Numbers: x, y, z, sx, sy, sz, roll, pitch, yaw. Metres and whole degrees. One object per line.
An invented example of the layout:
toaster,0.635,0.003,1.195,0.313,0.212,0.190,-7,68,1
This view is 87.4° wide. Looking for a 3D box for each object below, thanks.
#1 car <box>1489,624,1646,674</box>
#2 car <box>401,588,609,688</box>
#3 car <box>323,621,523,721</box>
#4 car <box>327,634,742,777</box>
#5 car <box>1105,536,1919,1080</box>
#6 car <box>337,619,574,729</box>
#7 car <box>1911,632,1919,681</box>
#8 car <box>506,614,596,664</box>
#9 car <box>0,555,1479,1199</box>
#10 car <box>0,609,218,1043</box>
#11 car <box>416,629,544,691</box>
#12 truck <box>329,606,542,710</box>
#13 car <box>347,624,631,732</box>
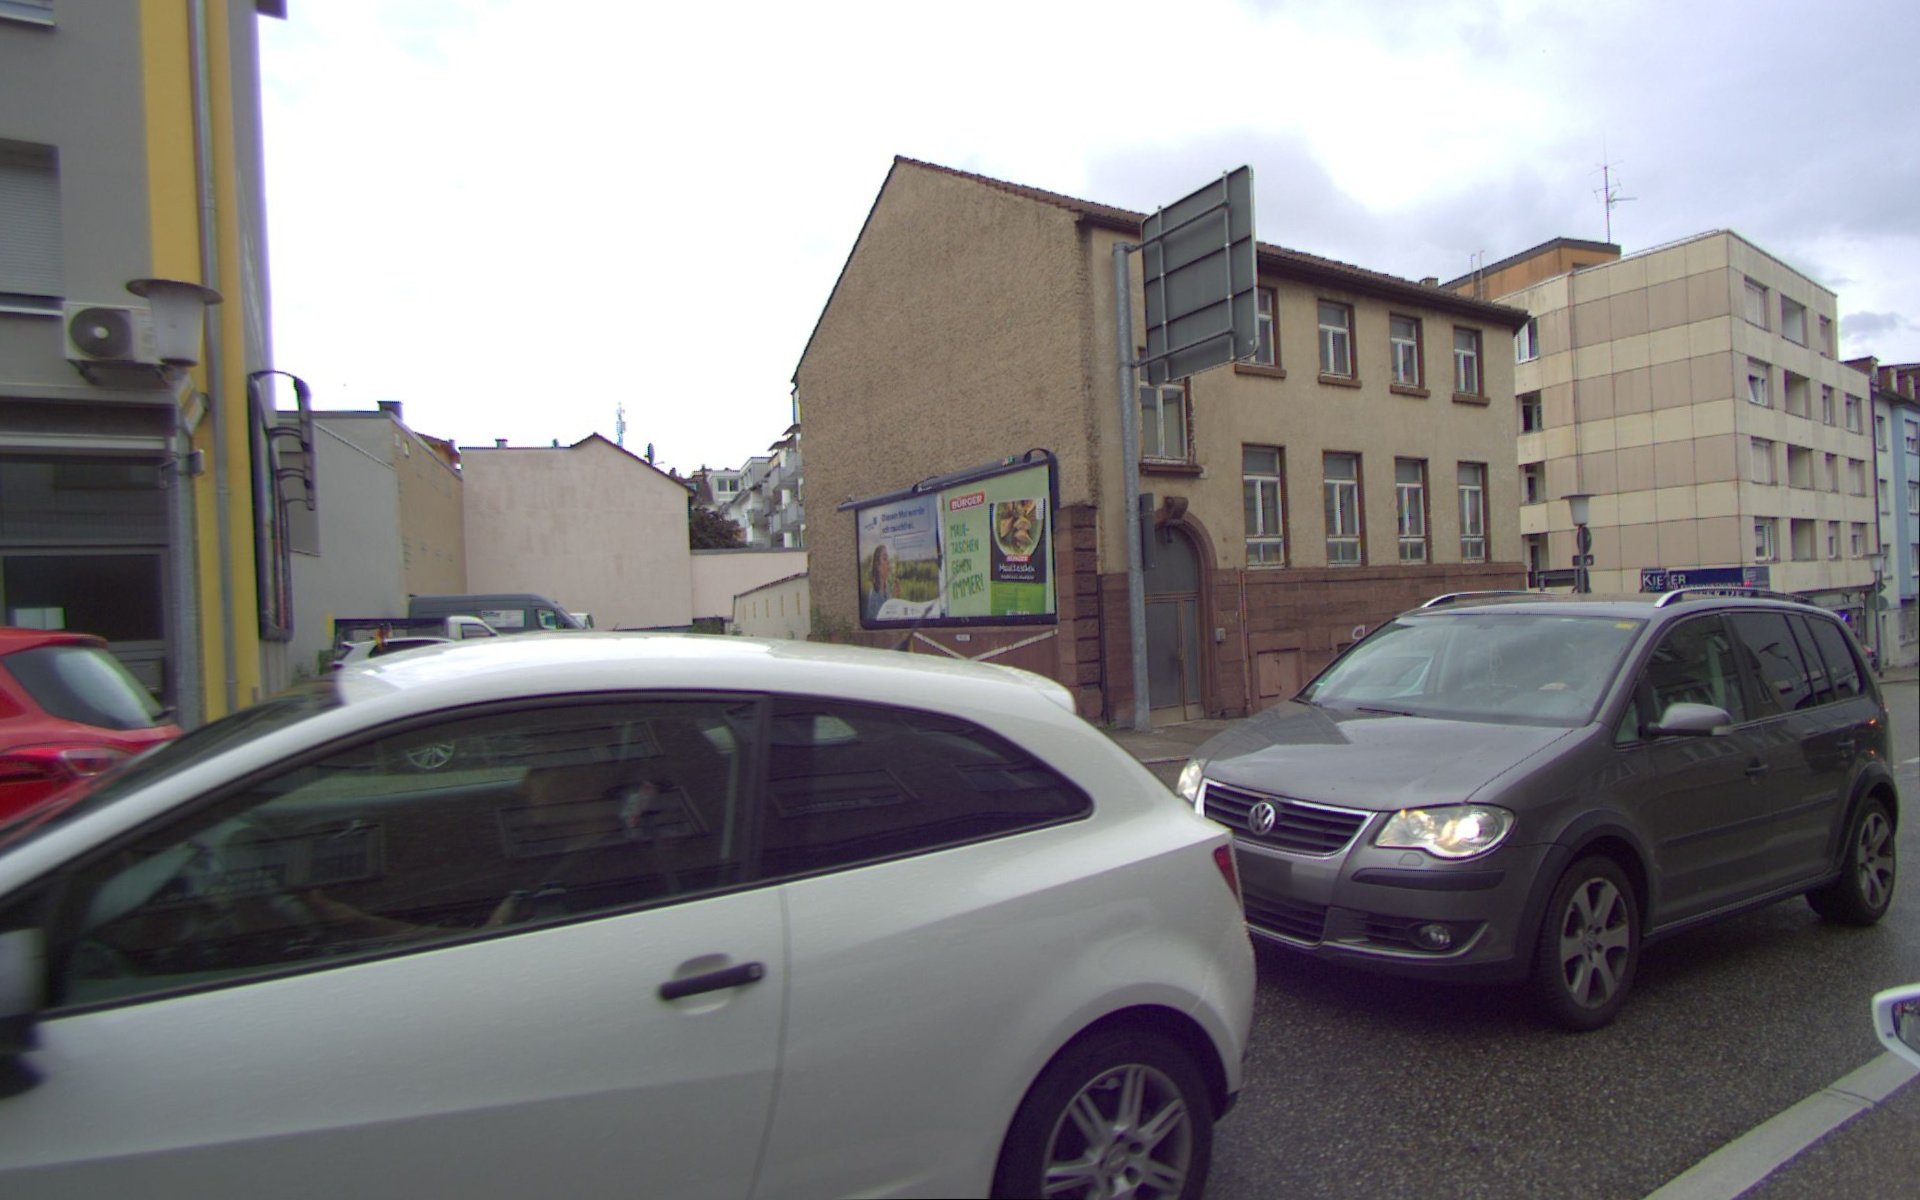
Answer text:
car,20.608,1.631,34.279,1.872,1.532,4.320,1,-1,-25
car,-13.884,1.109,31.098,5.544,2.593,2.124,-4,1,-20
car,-11.161,1.422,21.162,3.497,1.693,1.670,-4,1,-24
car,-5.259,1.193,12.723,4.617,1.474,1.680,1,-1,-35
car,3.081,0.712,5.142,4.509,1.727,1.797,2,0,-31
car,-8.905,1.232,17.887,3.522,1.535,1.725,-4,1,-29
car,33.573,1.898,33.860,4.111,1.606,1.700,3,-5,-41
car,-17.503,1.641,43.107,3.446,1.861,1.521,-4,1,-22
car,-0.858,0.711,2.404,4.239,1.500,1.690,2,0,-30
car,-5.305,0.818,3.530,4.080,1.535,1.733,1,-4,-29
car,-12.304,1.515,25.910,2.803,1.292,1.315,-4,1,-22
truck,-12.187,1.272,23.565,4.170,1.998,1.709,-4,1,-28
car,-7.235,1.121,15.553,3.811,1.483,1.682,1,-1,-32
